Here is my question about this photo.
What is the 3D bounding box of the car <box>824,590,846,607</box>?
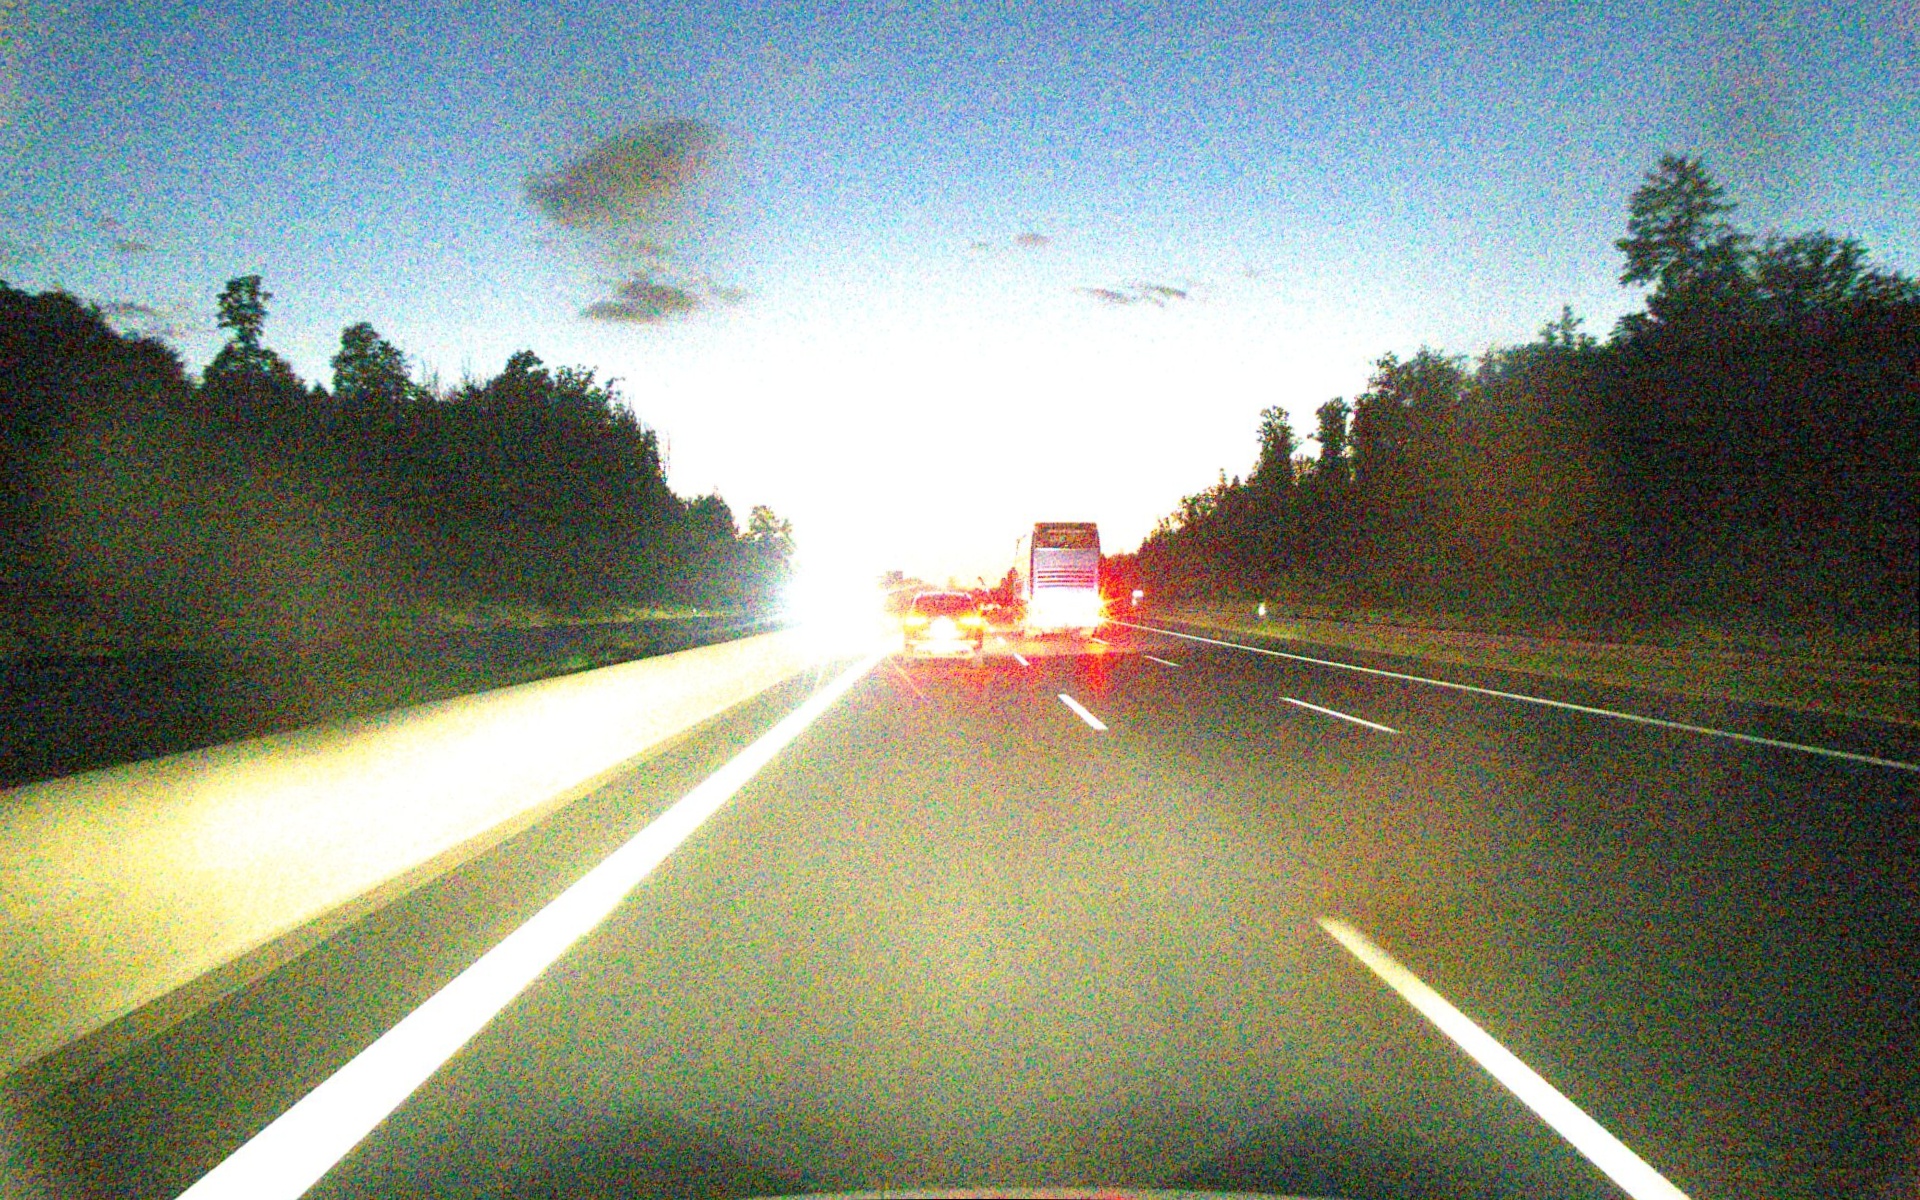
[{"bbox_3d":[-12.224,-0.148,161.744,1.894,1.589,4.453,1,0,-1],"label":"car"}]

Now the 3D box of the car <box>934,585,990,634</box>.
[{"bbox_3d":[0.034,0.399,65.326,1.873,1.760,3.997,4,-1,-3],"label":"car"}]

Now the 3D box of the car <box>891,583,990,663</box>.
[{"bbox_3d":[-0.463,0.516,36.988,2.063,1.646,4.202,-1,-1,-2],"label":"car"}]

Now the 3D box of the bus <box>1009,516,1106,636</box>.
[{"bbox_3d":[3.570,-0.737,64.142,2.598,4.064,14.698,-2,-1,-1],"label":"bus"}]
